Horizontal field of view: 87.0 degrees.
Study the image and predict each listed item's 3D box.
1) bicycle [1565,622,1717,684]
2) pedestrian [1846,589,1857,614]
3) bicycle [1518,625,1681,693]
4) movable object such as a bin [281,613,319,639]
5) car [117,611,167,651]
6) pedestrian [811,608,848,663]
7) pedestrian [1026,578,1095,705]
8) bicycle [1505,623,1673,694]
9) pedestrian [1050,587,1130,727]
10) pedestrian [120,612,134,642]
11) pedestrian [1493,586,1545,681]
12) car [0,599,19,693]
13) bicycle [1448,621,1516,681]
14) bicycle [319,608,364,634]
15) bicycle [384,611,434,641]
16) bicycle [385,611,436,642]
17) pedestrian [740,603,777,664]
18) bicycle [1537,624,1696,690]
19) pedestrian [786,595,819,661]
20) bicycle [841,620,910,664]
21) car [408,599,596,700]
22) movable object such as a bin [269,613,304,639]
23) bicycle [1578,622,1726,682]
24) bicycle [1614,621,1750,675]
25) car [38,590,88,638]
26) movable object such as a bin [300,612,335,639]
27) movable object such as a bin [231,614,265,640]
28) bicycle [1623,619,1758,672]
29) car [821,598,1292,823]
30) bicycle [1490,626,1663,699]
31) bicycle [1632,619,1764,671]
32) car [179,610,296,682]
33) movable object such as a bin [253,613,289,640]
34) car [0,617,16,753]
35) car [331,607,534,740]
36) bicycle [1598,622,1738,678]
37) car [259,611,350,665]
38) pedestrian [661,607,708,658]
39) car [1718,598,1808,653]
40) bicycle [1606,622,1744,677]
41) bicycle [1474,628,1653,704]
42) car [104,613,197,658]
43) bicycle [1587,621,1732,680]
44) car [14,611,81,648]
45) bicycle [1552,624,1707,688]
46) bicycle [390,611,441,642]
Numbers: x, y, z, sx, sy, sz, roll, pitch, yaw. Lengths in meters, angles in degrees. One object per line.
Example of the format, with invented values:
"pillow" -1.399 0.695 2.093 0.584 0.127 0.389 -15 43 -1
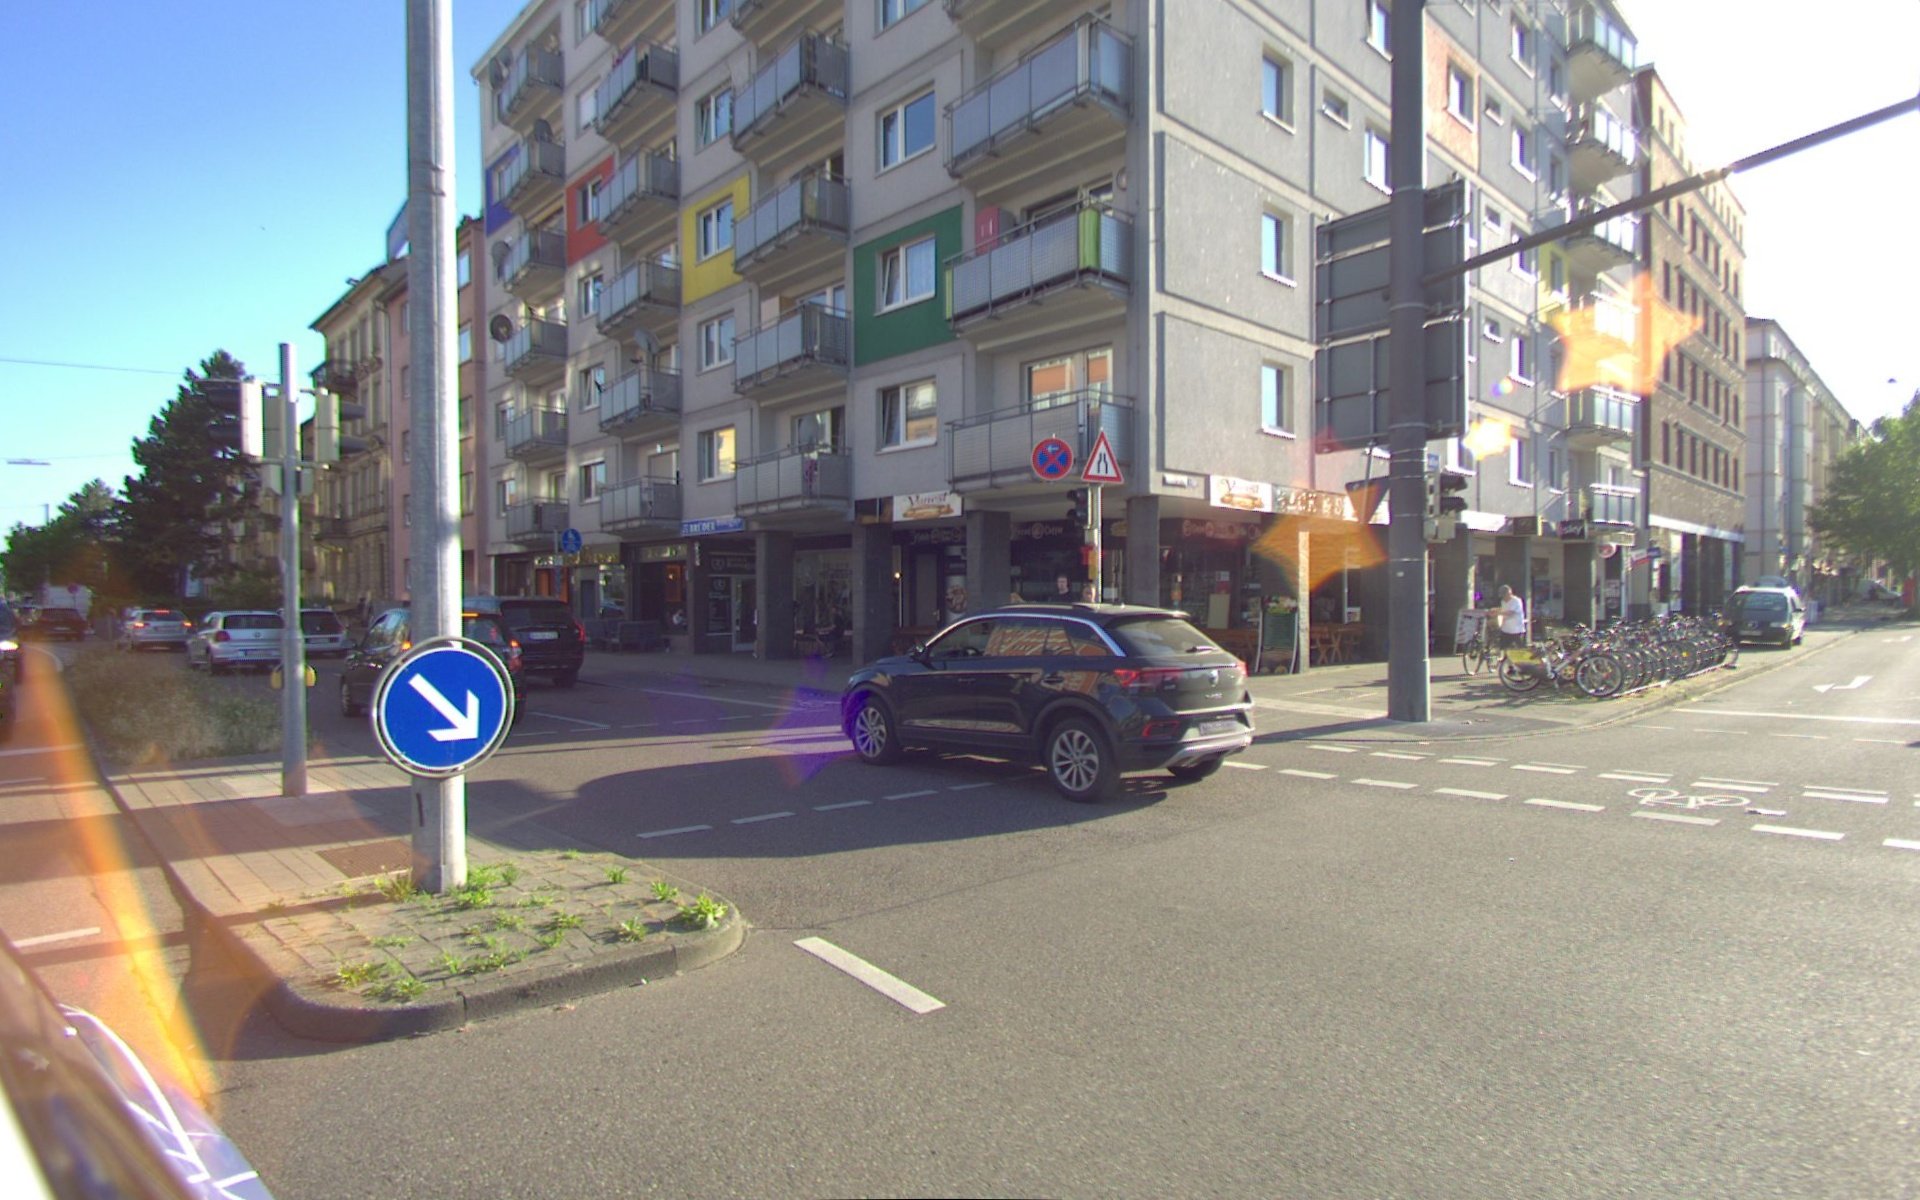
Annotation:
"bicycle" 12.936 0.977 19.277 0.726 1.059 2.302 0 0 -43
"pedestrian" 59.942 0.098 68.041 0.541 1.721 0.492 -1 0 -44
"bicycle" 11.107 0.993 17.647 0.726 1.059 2.302 0 0 -43
"movable object such as a bin" -31.556 1.236 48.395 0.918 1.242 1.290 -1 0 7
"car" -34.164 1.271 42.252 1.516 1.605 2.812 1 -2 -41
"pedestrian" -3.219 0.876 25.044 0.800 1.323 0.625 -1 0 3
"pedestrian" 1.564 0.630 15.795 0.601 1.889 0.813 -4 2 -42
"bicycle" 10.562 0.953 17.081 0.726 1.059 2.302 0 0 -43
"pedestrian" 1.765 0.745 13.749 0.601 1.800 0.814 -4 2 -39
"pedestrian" -45.602 1.482 55.412 0.569 1.612 0.482 -1 0 -43
"pedestrian" 10.644 0.630 19.278 0.601 1.735 0.685 -4 2 -43
"car" -21.176 0.924 21.363 1.868 1.868 4.470 1 -1 -43
"bicycle" 10.158 0.967 19.655 2.035 1.100 0.520 1 -2 -44
"bicycle" -29.653 1.009 48.513 0.473 1.200 1.755 -1 0 44
"bicycle" -22.866 1.081 41.992 0.473 1.200 1.755 -1 0 44
"bicycle" -22.527 1.082 41.514 0.473 1.200 1.755 -1 0 44
"pedestrian" -5.004 0.815 25.162 0.658 1.478 0.618 -1 0 37
"bicycle" 11.791 0.985 18.235 0.726 1.059 2.302 0 0 -43
"pedestrian" -4.048 0.706 26.021 0.652 1.685 0.623 -1 0 11
"bicycle" -2.070 1.009 24.678 1.695 1.006 0.618 0 0 38
"car" -9.010 0.892 19.681 1.795 1.724 4.789 1 -2 -44
"movable object such as a bin" -32.448 1.252 48.783 0.839 1.242 1.191 -1 0 7
"bicycle" 13.510 0.987 19.827 0.726 1.059 2.302 0 0 -43
"bicycle" 15.401 0.995 21.652 0.637 1.059 2.302 0 0 -43
"car" -54.467 0.843 61.406 2.105 2.777 4.470 1 -1 -44
"movable object such as a bin" -30.637 1.218 48.240 0.839 1.242 1.191 -1 0 7
"movable object such as a bin" -34.263 1.298 48.714 0.837 1.242 1.194 -1 0 -1
"bicycle" 15.972 0.977 22.183 0.726 1.059 2.302 0 0 -43
"car" 0.668 0.823 9.262 1.773 1.577 4.151 0 -1 -43
"bicycle" 10.006 0.982 16.498 0.726 1.059 2.302 0 0 -43
"bicycle" 16.542 0.987 22.735 0.726 1.059 2.302 0 0 -43
"car" -17.224 1.045 24.056 1.656 1.556 3.808 1 -2 -45
"movable object such as a bin" -33.307 1.270 48.939 0.839 1.242 1.191 -1 0 7
"car" -12.701 0.997 12.267 1.745 1.470 4.274 -2 1 -42
"car" -7.191 0.897 13.651 1.559 1.556 3.481 1 -2 -43
"bicycle" 14.554 1.006 20.862 0.554 1.059 2.302 0 0 -43
"car" -20.098 1.141 30.981 1.656 1.556 3.640 1 -2 -44
"pedestrian" -7.711 0.893 28.313 0.960 1.356 0.884 -1 0 -43
"car" 23.909 0.709 30.093 1.697 1.519 3.942 0 0 44
"bicycle" 14.975 1.005 21.265 0.554 1.059 2.302 0 0 -43
"bicycle" 9.446 0.992 15.928 0.726 1.059 2.302 0 0 -43
"car" -27.634 1.179 34.511 4.099 1.436 1.691 -1 -2 40
"bicycle" 14.065 0.986 20.410 0.726 1.059 2.302 0 0 -43
"car" -40.402 1.301 44.770 4.099 1.556 1.658 -1 -2 40
"bicycle" 12.366 1.000 18.769 0.726 1.059 2.302 0 0 -43
"bicycle" -22.041 1.074 40.963 0.473 1.200 1.755 -1 0 44
